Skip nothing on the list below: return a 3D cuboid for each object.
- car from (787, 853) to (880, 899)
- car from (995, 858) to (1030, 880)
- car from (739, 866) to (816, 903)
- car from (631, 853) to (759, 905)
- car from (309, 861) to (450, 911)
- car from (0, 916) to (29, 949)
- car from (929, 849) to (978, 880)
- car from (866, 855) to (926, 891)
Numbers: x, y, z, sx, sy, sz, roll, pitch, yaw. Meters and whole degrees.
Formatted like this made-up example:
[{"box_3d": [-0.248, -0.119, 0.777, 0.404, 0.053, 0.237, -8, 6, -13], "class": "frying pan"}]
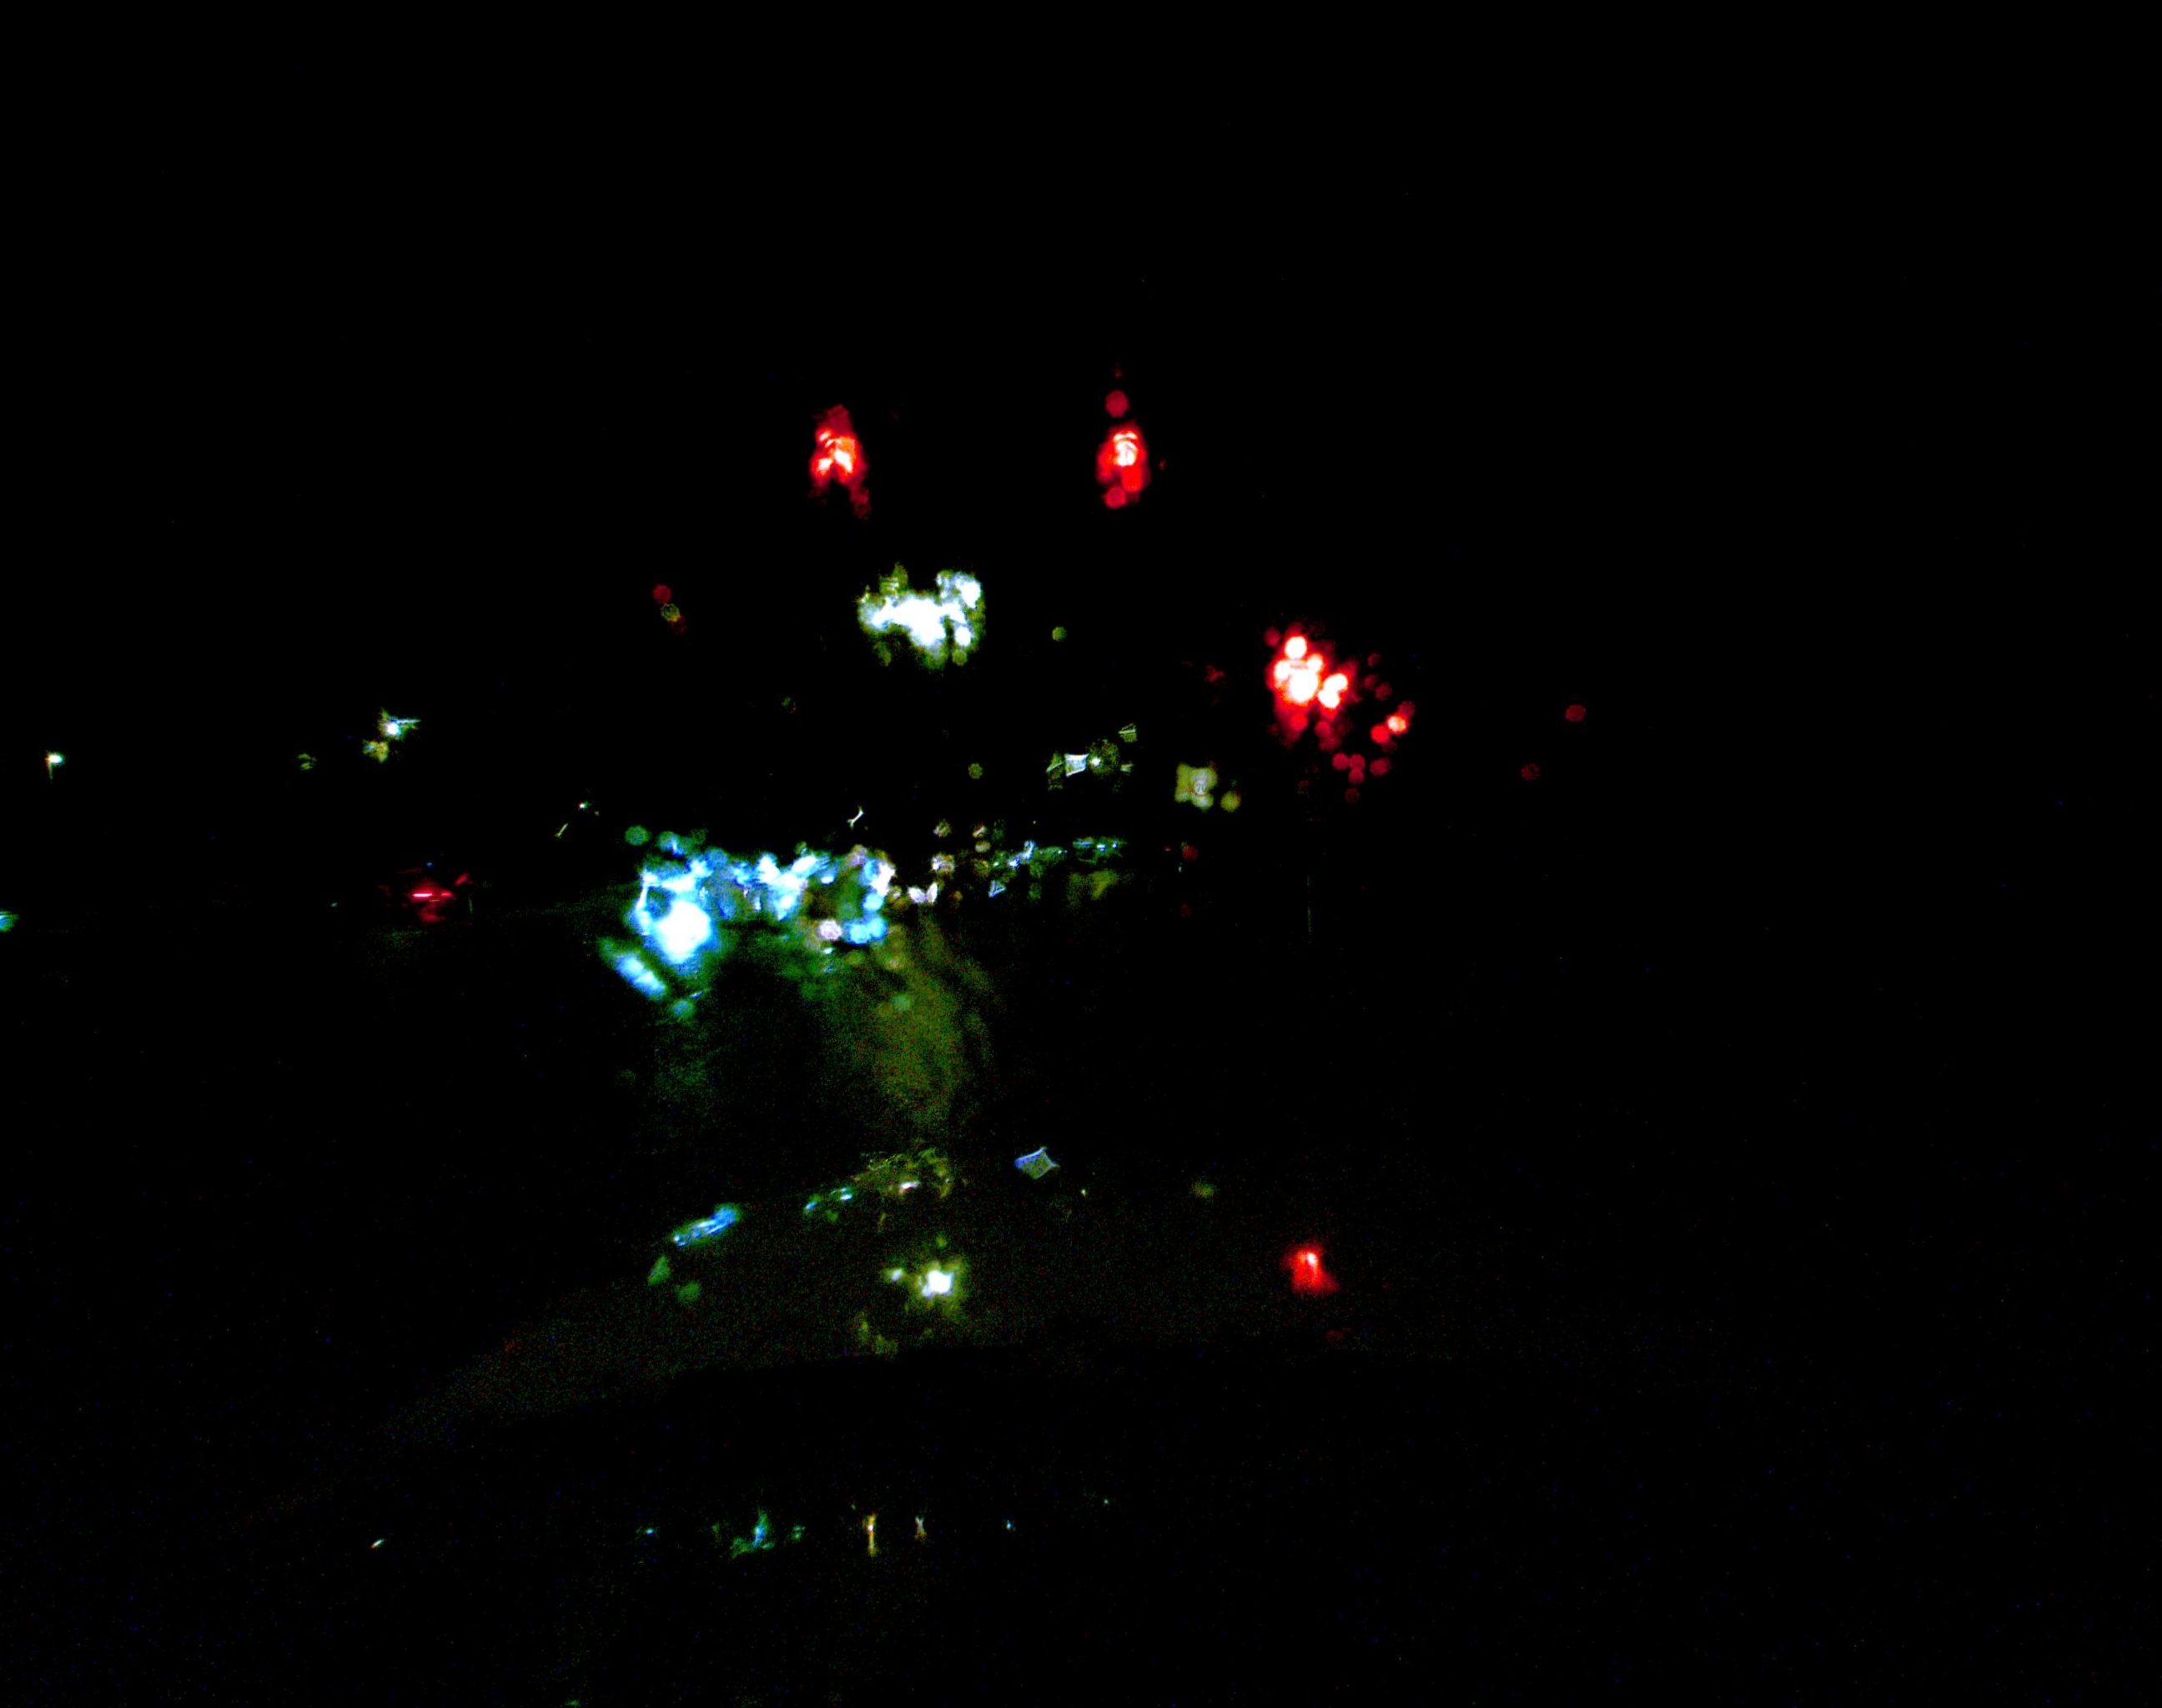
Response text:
[{"box_3d": [-9.166, 0.757, 30.584, 1.691, 1.571, 4.718, -1, 0, 5], "class": "car"}, {"box_3d": [-5.050, 1.139, 60.642, 1.699, 1.534, 4.609, -1, -1, 7], "class": "car"}, {"box_3d": [-12.634, 1.235, 34.098, 1.661, 1.454, 3.730, -1, -1, 3], "class": "car"}, {"box_3d": [-12.799, 0.763, 27.429, 1.785, 1.571, 4.916, -1, 0, 2], "class": "car"}, {"box_3d": [-28.960, 1.282, 33.773, 4.000, 1.831, 1.710, -2, 0, -20], "class": "car"}, {"box_3d": [-50.636, 3.657, 36.667, 2.182, 1.449, 4.106, -1, -1, -21], "class": "car"}, {"box_3d": [-7.393, 0.625, 47.580, 1.708, 1.703, 4.151, -1, -1, 7], "class": "car"}, {"box_3d": [-8.519, 0.874, 37.713, 1.577, 1.526, 3.657, -1, -1, 6], "class": "car"}]
